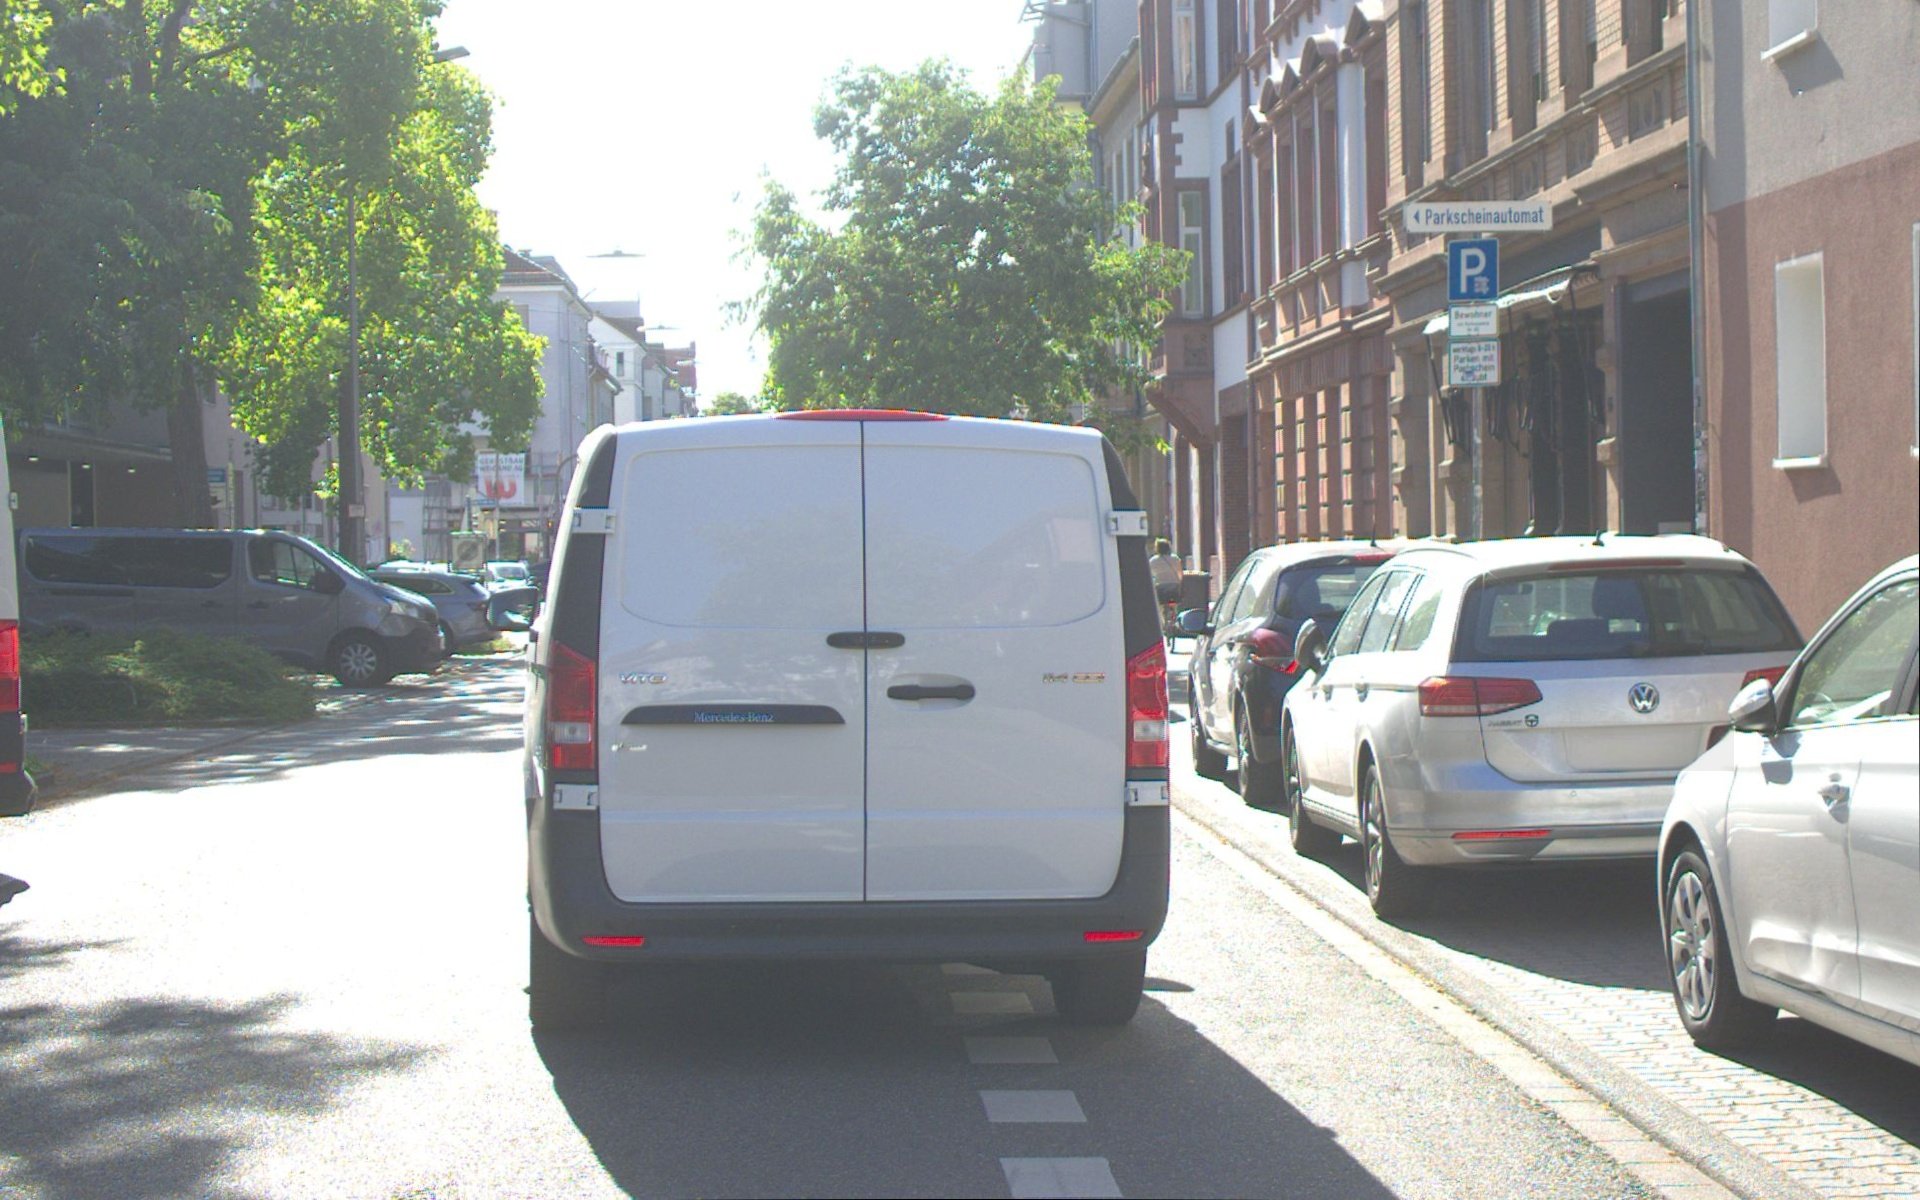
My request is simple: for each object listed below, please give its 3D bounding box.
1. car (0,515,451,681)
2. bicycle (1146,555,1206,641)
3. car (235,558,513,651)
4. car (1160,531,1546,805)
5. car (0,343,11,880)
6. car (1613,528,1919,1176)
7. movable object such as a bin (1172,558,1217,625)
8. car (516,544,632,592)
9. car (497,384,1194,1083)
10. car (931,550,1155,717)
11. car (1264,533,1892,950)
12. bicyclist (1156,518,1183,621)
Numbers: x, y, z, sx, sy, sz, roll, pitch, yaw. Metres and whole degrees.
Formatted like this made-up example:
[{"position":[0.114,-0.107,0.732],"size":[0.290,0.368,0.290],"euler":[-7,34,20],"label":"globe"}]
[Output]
[{"position":[-9.097,-0.036,42.735],"size":[5.291,1.967,2.016],"euler":[0,1,-3],"label":"car"},{"position":[3.089,-0.020,49.303],"size":[0.536,1.145,2.124],"euler":[-7,0,-2],"label":"bicycle"},{"position":[-9.657,0.061,56.854],"size":[4.305,1.455,1.762],"euler":[1,1,-1],"label":"car"},{"position":[2.272,0.349,20.757],"size":[1.709,1.475,3.711],"euler":[-1,1,-3],"label":"car"},{"position":[-7.758,0.116,15.142],"size":[6.581,2.465,2.000],"euler":[-1,1,-28],"label":"car"},{"position":[3.019,0.553,8.677],"size":[1.731,1.481,3.795],"euler":[-3,1,-4],"label":"car"},{"position":[3.779,-0.141,55.425],"size":[0.638,1.065,0.639],"euler":[-1,1,-3],"label":"movable object such as a bin"},{"position":[-13.456,-1.115,120.039],"size":[3.986,1.634,2.000],"euler":[-1,1,-6],"label":"car"},{"position":[-0.631,0.322,11.922],"size":[1.920,1.907,4.889],"euler":[0,1,-8],"label":"car"},{"position":[0.717,0.264,32.315],"size":[1.738,1.446,4.001],"euler":[-1,1,-4],"label":"car"},{"position":[2.448,0.481,14.750],"size":[1.785,1.455,4.517],"euler":[-2,1,-1],"label":"car"},{"position":[3.005,-0.440,49.304],"size":[0.361,1.472,0.530],"euler":[0,1,0],"label":"bicyclist"}]
